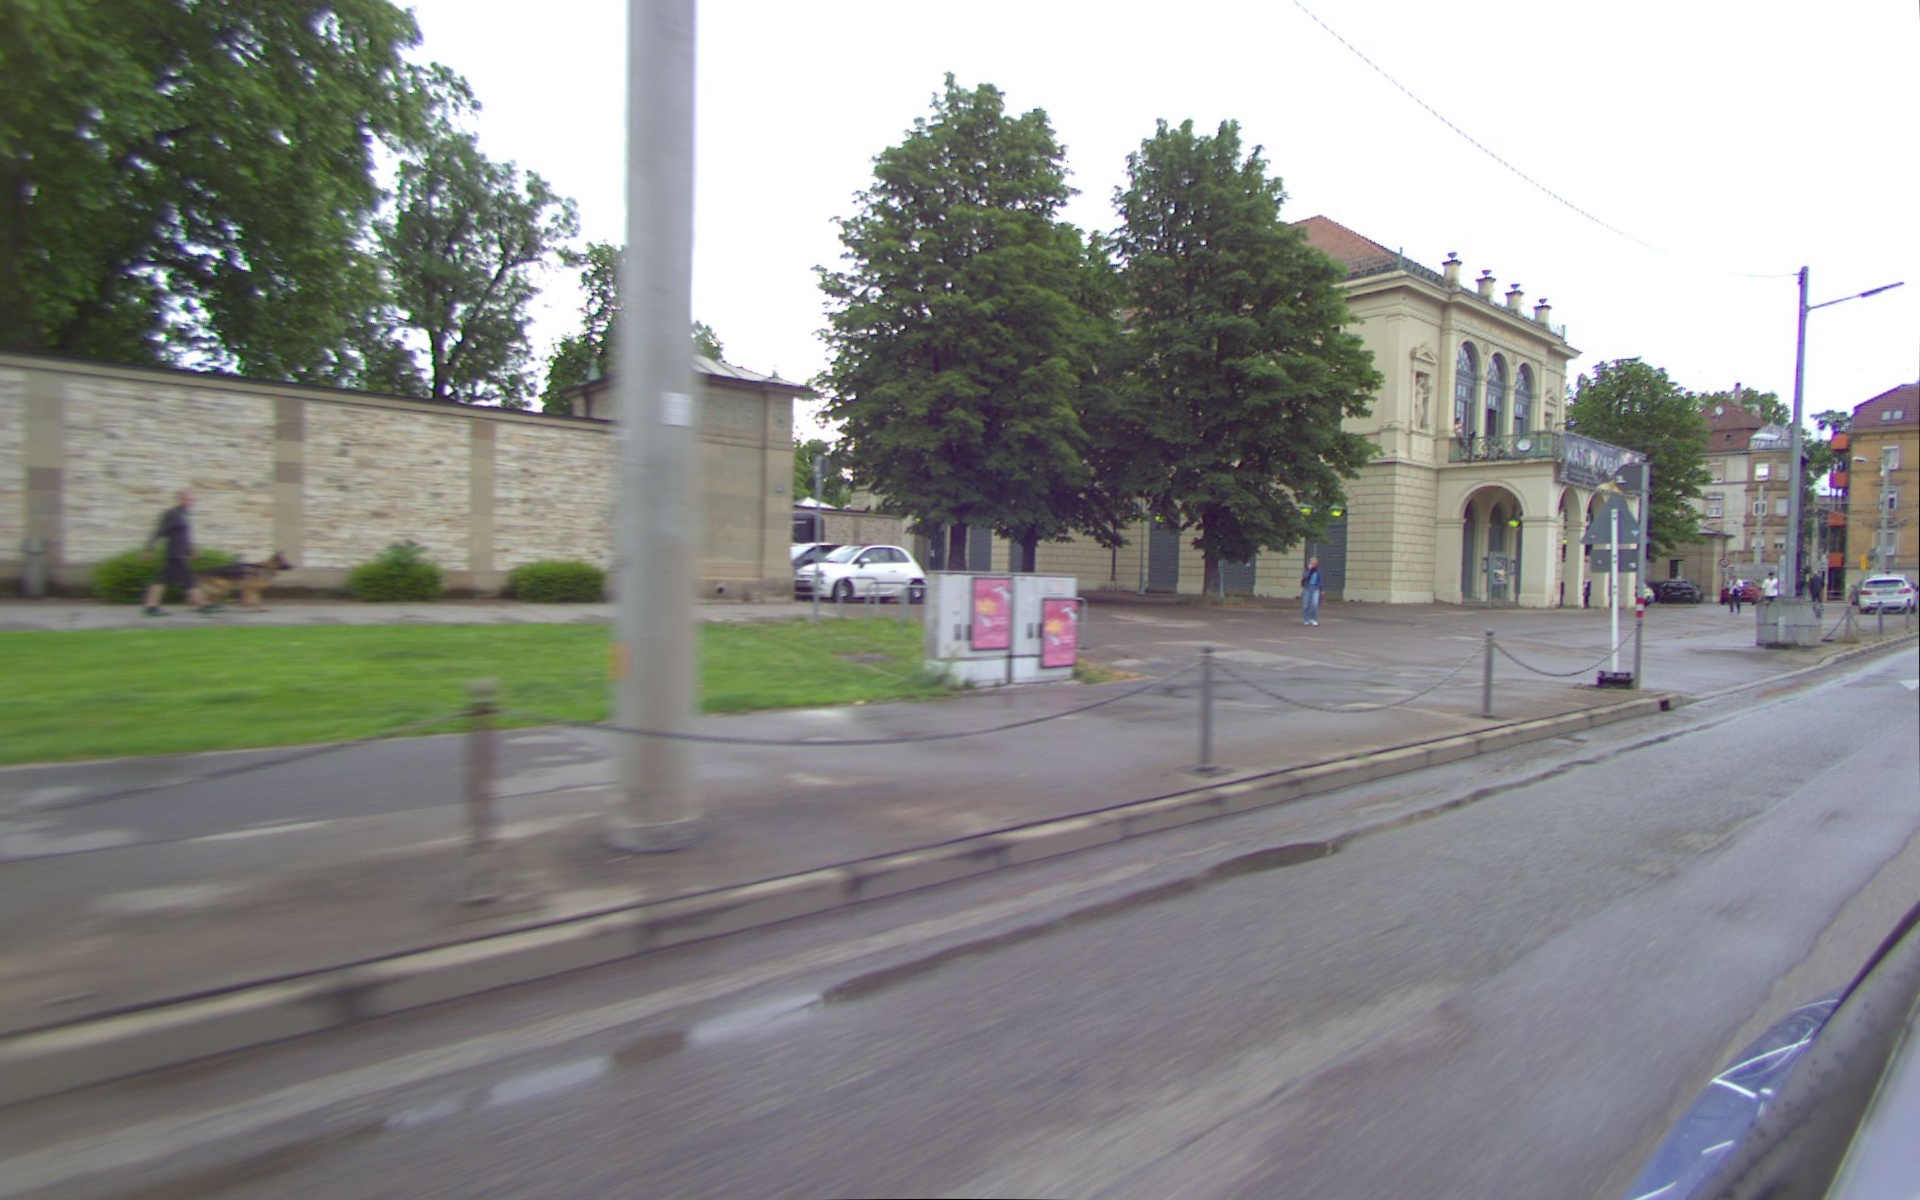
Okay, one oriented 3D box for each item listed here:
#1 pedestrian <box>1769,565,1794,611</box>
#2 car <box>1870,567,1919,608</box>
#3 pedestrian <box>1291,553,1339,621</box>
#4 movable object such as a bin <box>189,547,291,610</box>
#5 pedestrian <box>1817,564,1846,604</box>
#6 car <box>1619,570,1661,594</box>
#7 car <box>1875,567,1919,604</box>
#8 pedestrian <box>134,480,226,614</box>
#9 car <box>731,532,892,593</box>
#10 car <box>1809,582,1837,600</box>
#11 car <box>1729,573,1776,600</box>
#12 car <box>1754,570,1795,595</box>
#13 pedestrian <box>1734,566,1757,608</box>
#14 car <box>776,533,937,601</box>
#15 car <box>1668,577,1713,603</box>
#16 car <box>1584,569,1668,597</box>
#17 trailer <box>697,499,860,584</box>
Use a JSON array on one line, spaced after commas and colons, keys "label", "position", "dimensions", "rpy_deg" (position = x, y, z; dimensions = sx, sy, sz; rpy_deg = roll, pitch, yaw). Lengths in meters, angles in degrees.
[{"label": "pedestrian", "position": [32.427, -0.478, 39.939], "dimensions": [0.825, 1.757, 0.595], "rpy_deg": [-1, 3, -42]}, {"label": "car", "position": [40.650, -0.545, 43.651], "dimensions": [4.075, 1.660, 1.839], "rpy_deg": [-1, 0, -45]}, {"label": "pedestrian", "position": [8.670, -0.326, 24.729], "dimensions": [0.654, 1.610, 0.868], "rpy_deg": [2, 3, -14]}, {"label": "movable object such as a bin", "position": [-10.370, -0.312, 14.590], "dimensions": [1.170, 0.882, 0.343], "rpy_deg": [0, 3, -39]}, {"label": "pedestrian", "position": [40.680, -0.754, 47.241], "dimensions": [0.769, 1.829, 0.696], "rpy_deg": [0, 1, 10]}, {"label": "car", "position": [45.541, -1.214, 67.712], "dimensions": [1.678, 1.515, 3.938], "rpy_deg": [3, 3, 43]}, {"label": "car", "position": [44.649, -0.703, 47.995], "dimensions": [1.714, 1.660, 4.082], "rpy_deg": [-2, 0, 41]}, {"label": "pedestrian", "position": [-10.543, -0.702, 13.682], "dimensions": [0.964, 1.731, 0.730], "rpy_deg": [0, 2, -39]}, {"label": "car", "position": [-3.925, -0.980, 27.310], "dimensions": [1.891, 1.507, 4.131], "rpy_deg": [4, 3, 38]}, {"label": "car", "position": [84.292, -0.875, 98.836], "dimensions": [1.826, 1.602, 3.937], "rpy_deg": [3, 3, 44]}, {"label": "car", "position": [48.813, -0.859, 62.300], "dimensions": [1.826, 1.602, 3.937], "rpy_deg": [3, 3, 44]}, {"label": "car", "position": [56.235, -1.237, 69.819], "dimensions": [1.826, 1.602, 3.937], "rpy_deg": [3, 3, 44]}, {"label": "pedestrian", "position": [32.088, -0.545, 41.344], "dimensions": [0.627, 1.664, 0.768], "rpy_deg": [3, 3, 43]}, {"label": "car", "position": [-2.556, -0.813, 25.340], "dimensions": [3.533, 1.473, 1.841], "rpy_deg": [2, 1, -41]}, {"label": "car", "position": [46.796, -0.659, 64.808], "dimensions": [1.859, 1.567, 4.003], "rpy_deg": [1, 2, 43]}, {"label": "car", "position": [39.002, -1.037, 59.340], "dimensions": [1.697, 1.487, 3.745], "rpy_deg": [-1, 3, -37]}, {"label": "trailer", "position": [-6.605, -2.140, 37.254], "dimensions": [5.549, 2.820, 2.148], "rpy_deg": [2, 2, 1]}]
